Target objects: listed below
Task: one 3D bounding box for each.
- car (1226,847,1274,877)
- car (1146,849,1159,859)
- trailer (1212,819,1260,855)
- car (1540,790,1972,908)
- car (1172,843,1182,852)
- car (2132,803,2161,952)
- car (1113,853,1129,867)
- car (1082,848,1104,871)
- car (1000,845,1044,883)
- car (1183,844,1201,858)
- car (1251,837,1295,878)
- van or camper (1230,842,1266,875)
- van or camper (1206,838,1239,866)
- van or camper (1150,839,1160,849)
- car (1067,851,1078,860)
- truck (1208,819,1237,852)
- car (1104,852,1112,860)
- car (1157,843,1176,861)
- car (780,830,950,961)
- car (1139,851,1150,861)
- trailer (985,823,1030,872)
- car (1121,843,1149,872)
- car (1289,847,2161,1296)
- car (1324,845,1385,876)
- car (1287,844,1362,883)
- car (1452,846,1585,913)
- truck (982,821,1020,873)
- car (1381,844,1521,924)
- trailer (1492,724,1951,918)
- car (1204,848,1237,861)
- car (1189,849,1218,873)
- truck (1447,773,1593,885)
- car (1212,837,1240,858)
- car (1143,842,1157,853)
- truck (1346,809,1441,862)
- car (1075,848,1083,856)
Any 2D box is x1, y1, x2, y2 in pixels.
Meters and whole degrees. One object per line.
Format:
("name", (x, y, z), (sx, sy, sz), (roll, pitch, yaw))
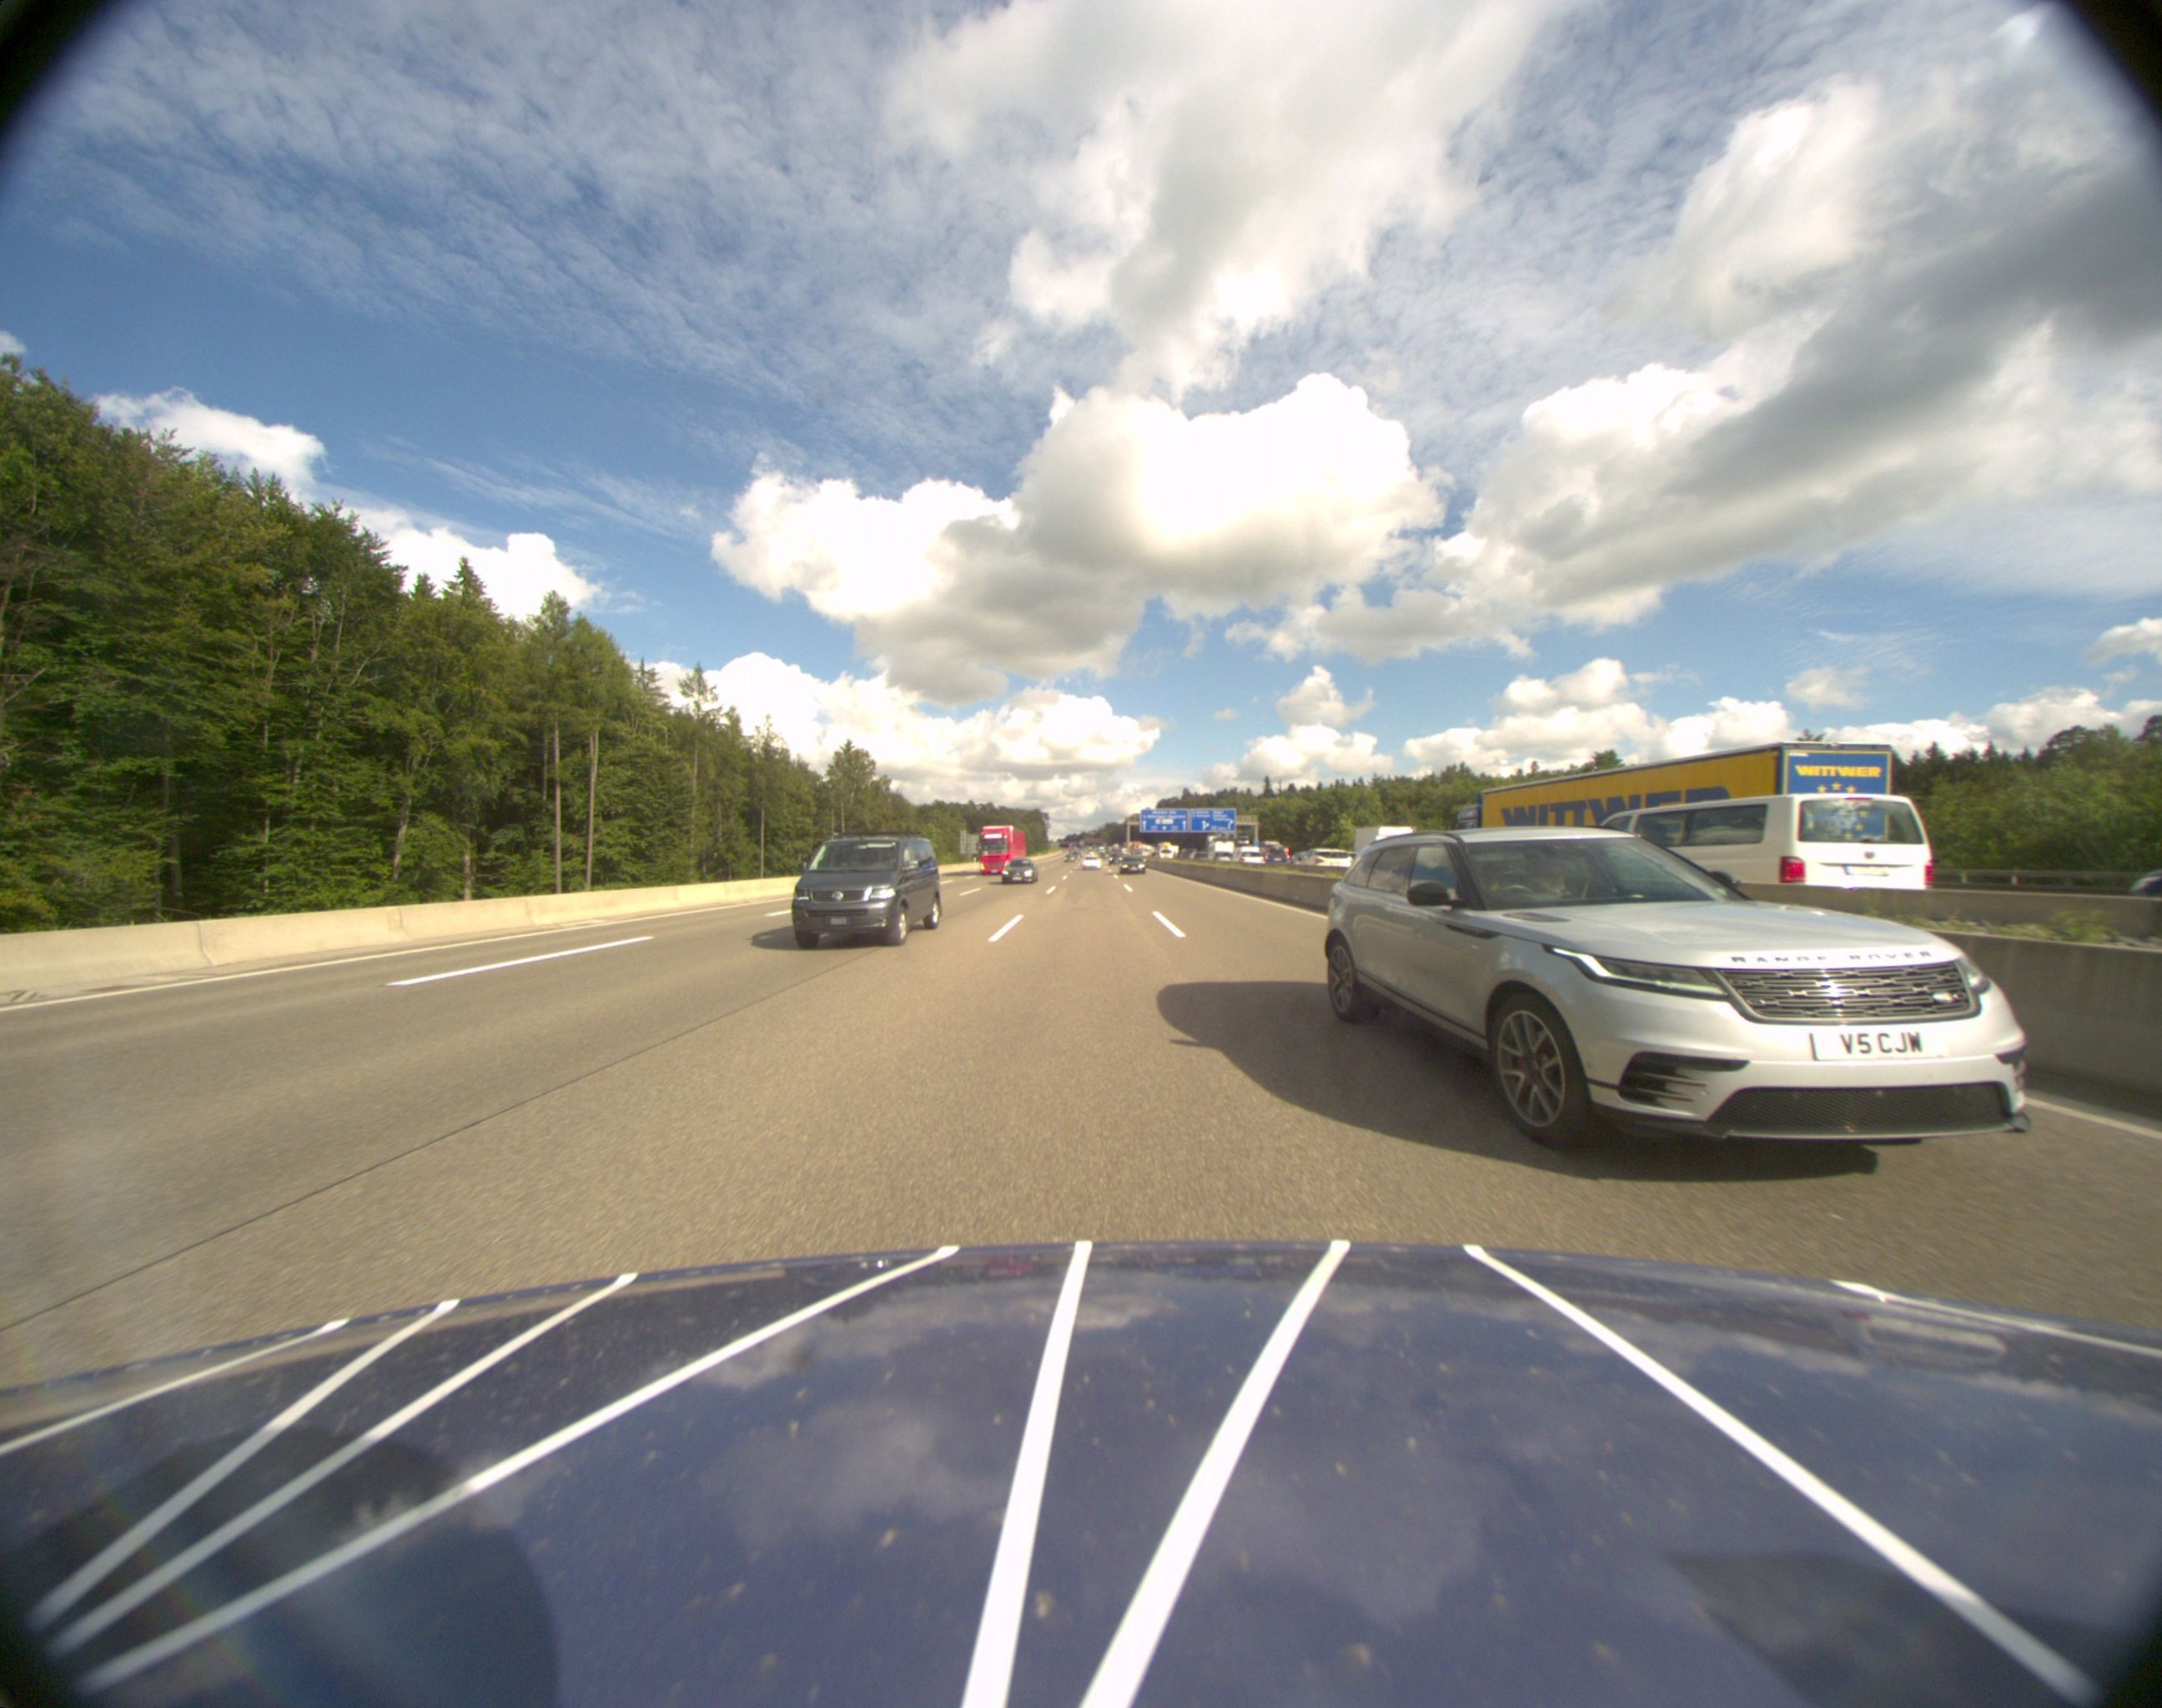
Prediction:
("car", (10.497, 0.465, 47.511), (1.998, 1.733, 4.295), (-3, 0, 1))
("car", (10.645, 0.003, 113.191), (1.699, 1.364, 4.000), (-3, 0, 2))
("trailer", (19.011, -2.121, 94.312), (2.837, 3.952, 16.001), (-2, 2, 1))
("car", (9.727, -0.137, 11.829), (1.854, 1.347, 5.487), (-2, 2, 0))
("car", (21.071, -1.486, 166.501), (1.804, 1.865, 3.950), (-1, 1, 1))
("car", (13.617, 0.246, 6.777), (1.750, 1.756, 4.842), (-3, 0, 0))
("car", (5.318, 0.763, 100.888), (1.911, 1.582, 4.287), (-2, 2, 1))
("car", (1.184, 0.520, 74.557), (1.998, 2.002, 4.000), (-3, 0, 2))
("car", (-3.367, 0.572, 44.315), (1.998, 2.002, 4.000), (-3, 0, 2))
("car", (15.226, -0.414, 104.280), (1.916, 1.865, 4.696), (-1, 1, 1))
("car", (14.887, 0.225, 59.172), (1.998, 2.946, 5.402), (-3, 0, 1))
("van or camper", (15.036, 0.379, 68.553), (2.050, 2.696, 5.749), (-2, 2, 1))
("van or camper", (14.911, -0.281, 80.698), (2.397, 2.696, 6.630), (-2, 2, 2))
("van or camper", (23.823, -3.161, 245.416), (2.476, 2.873, 7.479), (-2, 2, 1))
("car", (-1.651, 0.241, 140.204), (1.911, 1.582, 4.286), (-2, 2, -2))
("truck", (19.153, -2.485, 103.421), (2.860, 4.210, 5.712), (-2, 1, 1))
("car", (6.324, 0.428, 178.822), (1.804, 1.783, 3.758), (-1, 1, 1))
("car", (11.235, -0.267, 99.822), (1.998, 2.088, 5.277), (-2, 2, 2))
("car", (-4.043, 0.672, 15.189), (1.927, 2.153, 4.960), (-1, 0, 0))
("car", (12.126, 0.354, 145.898), (1.804, 1.865, 3.950), (-1, 1, 1))
("trailer", (-6.693, -0.672, 71.417), (2.531, 4.096, 14.374), (-2, 1, 1))
("car", (3.998, 0.261, 56.795), (1.919, 2.002, 4.000), (-3, 0, 2))
("car", (3.136, 0.785, 5.354), (1.905, 1.597, 5.104), (-2, 1, 0))
("car", (13.992, 0.319, 39.146), (1.737, 1.393, 3.835), (-2, 2, 0))
("car", (10.083, 0.373, 31.738), (1.761, 1.369, 4.000), (-5, 0, 0))
("car", (13.609, 0.705, 23.963), (1.691, 1.806, 4.294), (-2, 2, 0))
("truck", (-6.770, -0.597, 64.633), (2.532, 4.179, 4.652), (-2, 1, 1))
("car", (9.801, 0.700, 20.527), (1.691, 1.806, 4.294), (-2, 2, 0))
("trailer", (17.921, -0.909, 23.695), (2.778, 4.211, 13.655), (-2, 2, 0))
("car", (10.515, 0.015, 57.652), (1.639, 0.853, 4.605), (-3, 0, 1))
("car", (11.089, 0.594, 68.941), (1.998, 2.002, 4.408), (-1, 2, 1))
("truck", (17.884, -1.026, 31.392), (2.743, 4.125, 5.615), (-2, 2, 0))
("car", (15.094, -0.682, 79.214), (1.998, 2.002, 4.655), (-2, 2, 0))
("car", (11.859, -1.166, 131.498), (2.091, 1.791, 4.179), (-2, 1, 1))
("truck", (18.438, -1.045, 45.414), (2.334, 2.785, 7.948), (-3, 0, 1))
("car", (-0.530, -0.424, 184.905), (1.804, 1.865, 3.950), (-1, 1, 1))
